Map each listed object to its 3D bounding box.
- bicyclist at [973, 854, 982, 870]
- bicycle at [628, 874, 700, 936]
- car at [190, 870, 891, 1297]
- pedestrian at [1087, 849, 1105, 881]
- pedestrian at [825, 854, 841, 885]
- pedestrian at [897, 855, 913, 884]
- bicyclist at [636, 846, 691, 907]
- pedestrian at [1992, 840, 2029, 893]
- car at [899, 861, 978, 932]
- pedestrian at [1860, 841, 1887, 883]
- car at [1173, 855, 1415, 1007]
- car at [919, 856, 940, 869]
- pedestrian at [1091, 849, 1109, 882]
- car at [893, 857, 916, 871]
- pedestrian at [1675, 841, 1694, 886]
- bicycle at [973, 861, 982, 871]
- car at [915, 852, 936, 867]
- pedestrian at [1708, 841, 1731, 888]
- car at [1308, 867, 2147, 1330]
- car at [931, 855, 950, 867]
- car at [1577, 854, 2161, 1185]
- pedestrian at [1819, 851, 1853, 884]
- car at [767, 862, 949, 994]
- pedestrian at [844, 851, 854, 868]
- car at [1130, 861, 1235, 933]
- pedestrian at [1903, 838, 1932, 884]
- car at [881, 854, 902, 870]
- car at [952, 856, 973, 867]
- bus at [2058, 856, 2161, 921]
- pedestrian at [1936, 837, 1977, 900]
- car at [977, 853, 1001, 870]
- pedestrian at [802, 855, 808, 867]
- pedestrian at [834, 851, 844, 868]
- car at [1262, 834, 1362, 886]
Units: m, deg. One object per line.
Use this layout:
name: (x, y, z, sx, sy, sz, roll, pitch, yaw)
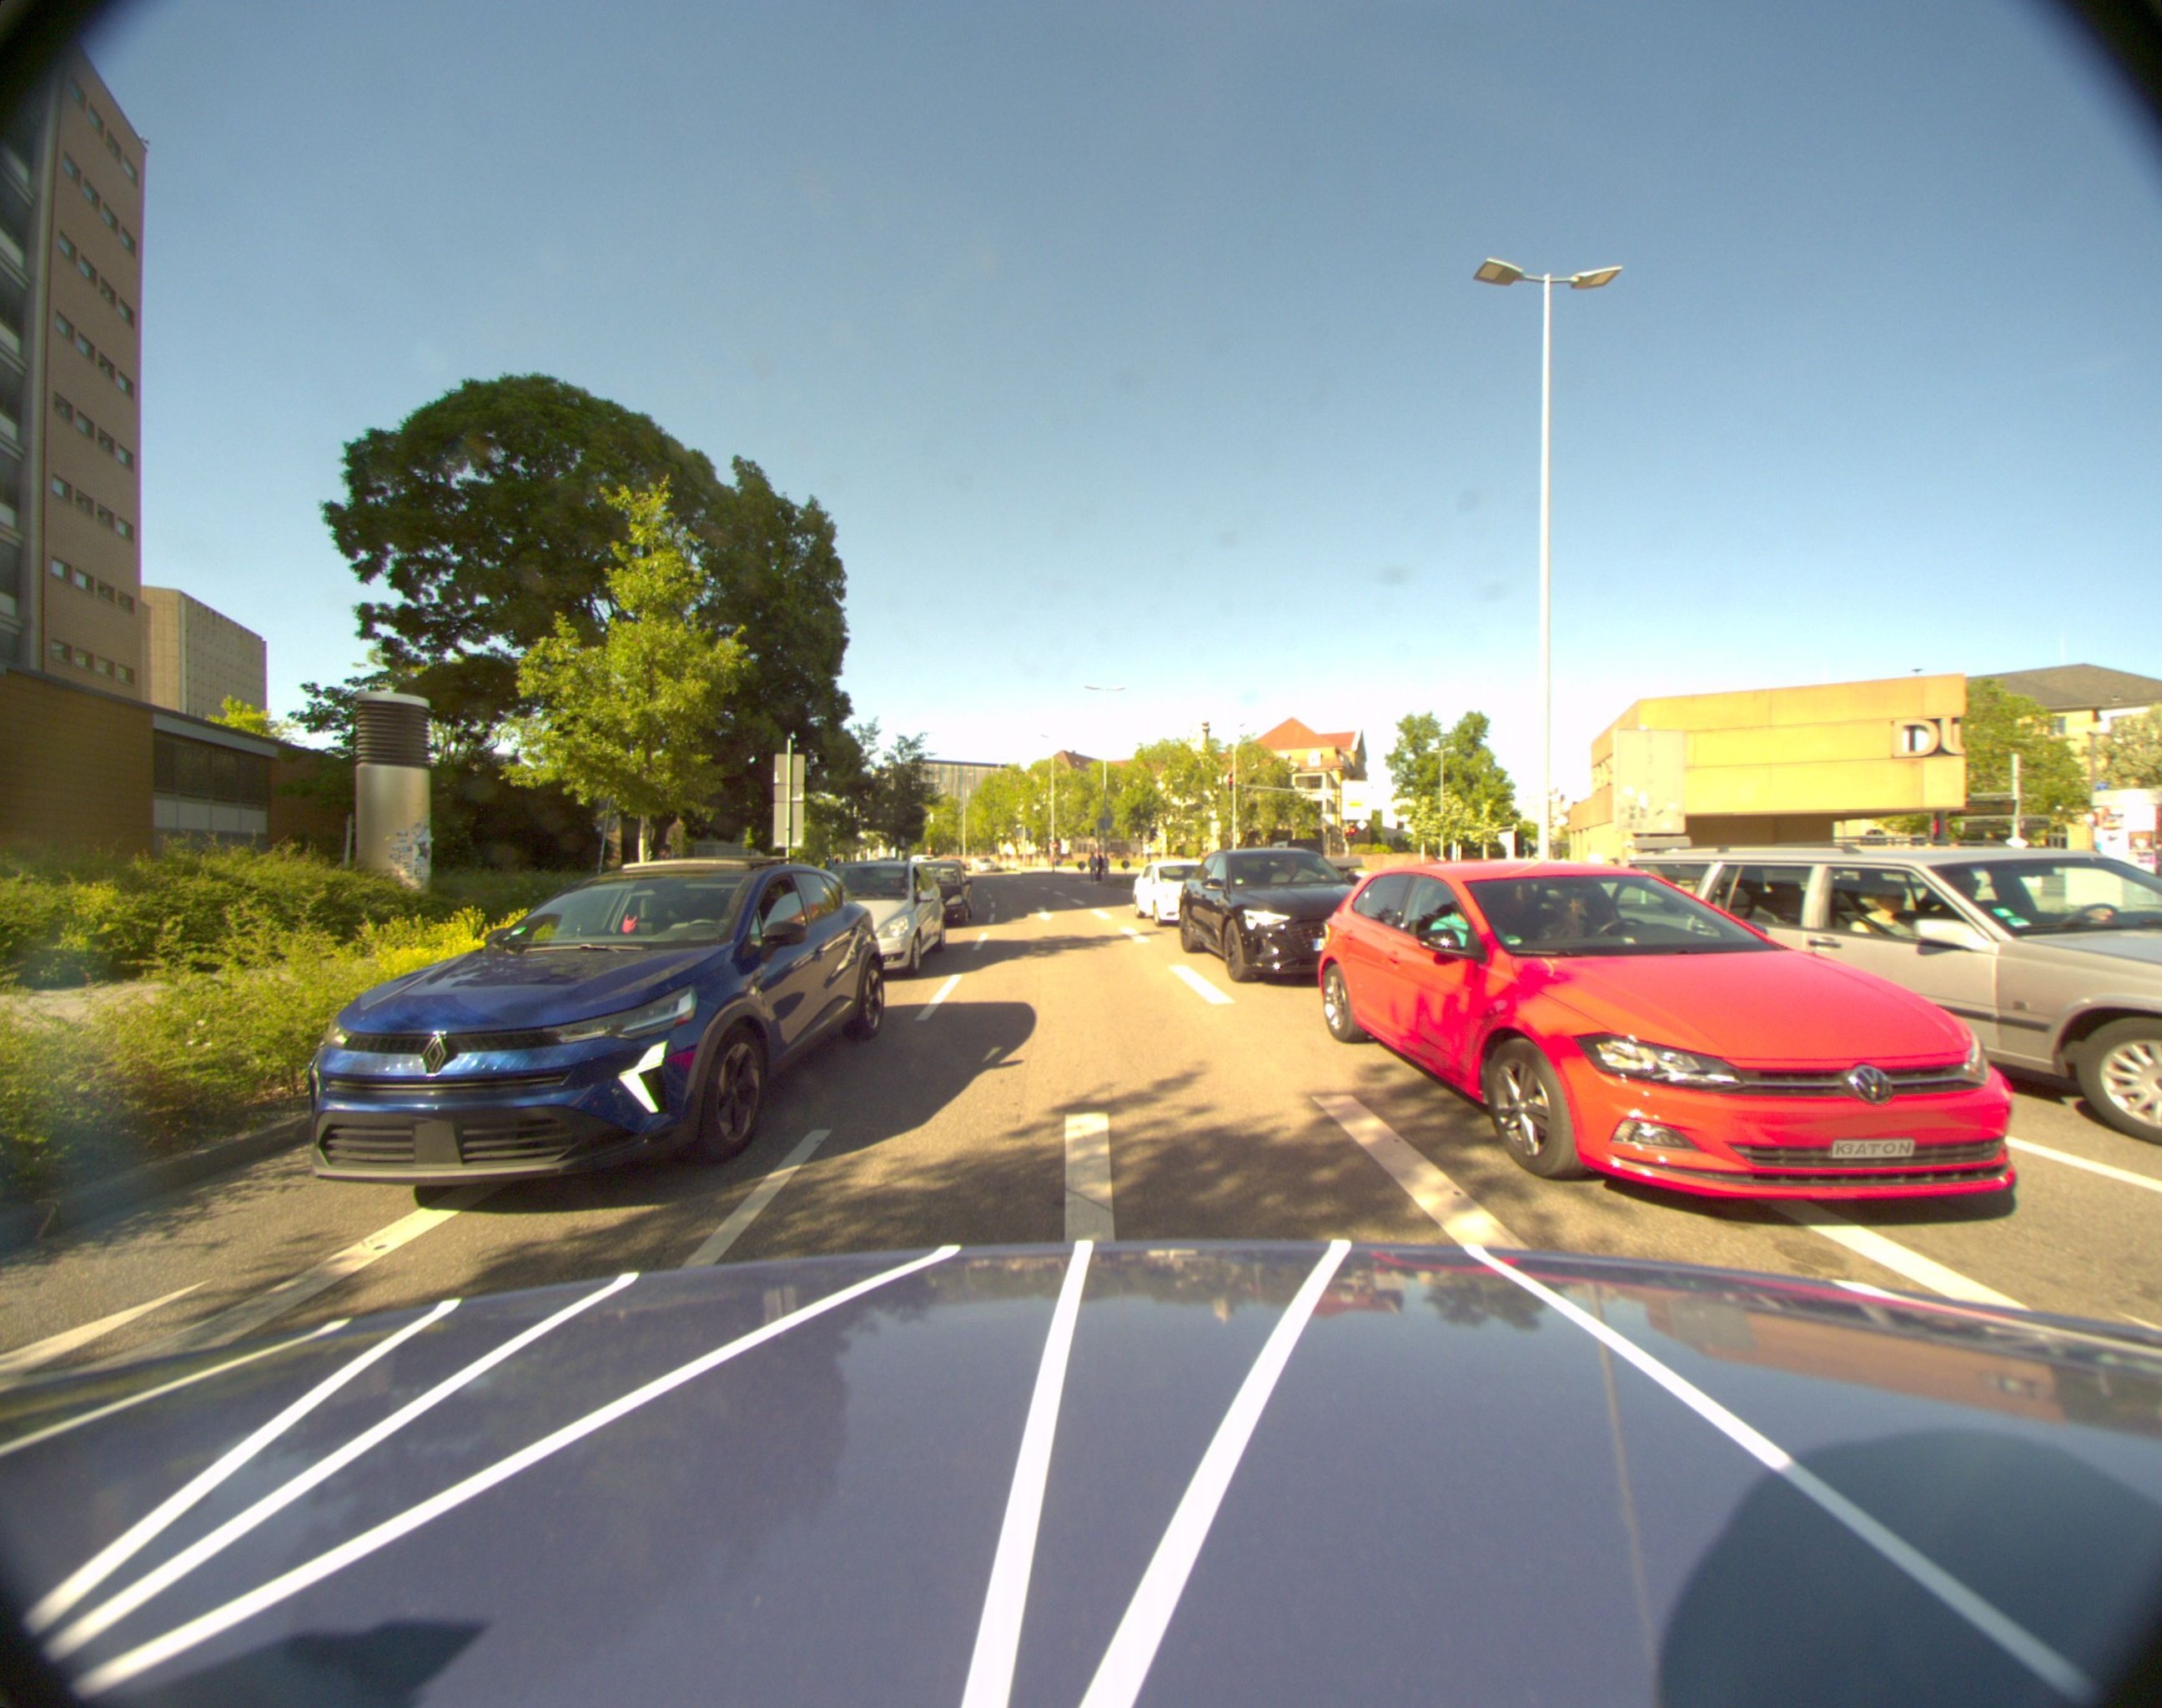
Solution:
bicyclist: (-9.934, 0.769, 73.105, 0.695, 1.549, 0.815, -2, 1, -15)
bicycle: (-9.091, 1.089, 16.652, 0.692, 1.211, 1.834, 2, 0, -5)
car: (-2.656, 0.956, 5.059, 1.705, 1.596, 4.084, -1, 0, 0)
pedestrian: (0.882, 0.620, 44.499, 0.887, 1.814, 0.776, -2, 1, -7)
pedestrian: (-12.885, 0.801, 39.475, 0.693, 1.594, 0.661, 0, 0, -14)
pedestrian: (-9.757, 0.838, 42.080, 0.694, 1.594, 0.660, -1, 0, -28)
bicyclist: (-9.032, 0.480, 16.480, 0.722, 1.271, 0.907, 2, 0, -6)
pedestrian: (31.384, 0.409, 25.660, 0.644, 1.766, 0.469, 0, 1, 21)
car: (-3.523, 0.990, 19.242, 1.651, 1.601, 3.488, 0, 0, -6)
pedestrian: (33.252, 0.331, 31.893, 0.645, 1.766, 0.468, -1, 1, -4)
car: (2.567, 0.827, 10.379, 1.859, 1.606, 4.452, 0, 0, -3)
car: (-16.819, 0.881, 84.277, 1.754, 1.370, 3.568, -1, 0, -21)
pedestrian: (1.086, 0.638, 43.222, 0.757, 1.814, 0.775, -2, 1, -17)
car: (-18.901, 1.042, 81.118, 1.754, 1.467, 3.567, -2, 1, -23)
pedestrian: (24.052, 0.387, 30.276, 0.467, 1.766, 0.647, 0, 1, 29)
bicycle: (-9.959, 1.150, 73.198, 0.590, 0.884, 1.652, -2, 0, -15)
car: (-21.644, 0.787, 105.487, 1.790, 2.002, 4.223, -2, 1, -26)
pedestrian: (24.560, 0.407, 29.208, 0.644, 1.766, 0.618, 0, 1, 42)
car: (2.801, 0.870, 4.528, 1.674, 1.464, 3.853, -2, 0, -1)
car: (-18.211, 0.902, 98.549, 1.598, 1.596, 3.066, -1, 0, -26)
car: (5.755, 0.775, 4.979, 1.713, 1.464, 4.751, -3, -1, -2)
pedestrian: (30.171, 0.523, 30.389, 0.645, 1.303, 0.763, -1, 0, 10)
car: (-3.158, 0.955, 11.615, 1.786, 1.615, 4.042, 0, 0, -3)
pedestrian: (-26.552, 0.617, 86.926, 0.823, 1.906, 0.770, -3, 1, -29)
car: (2.257, 0.922, 17.833, 1.575, 1.410, 3.711, -2, 0, -6)
pedestrian: (32.824, 0.269, 29.802, 0.645, 1.766, 0.468, -1, 1, -4)
car: (-21.654, 0.897, 86.785, 1.830, 1.842, 3.745, 0, 0, -21)
car: (-14.269, 0.930, 91.369, 1.587, 1.198, 3.991, -2, 2, -23)
bus: (21.674, 0.661, 14.069, 1.646, 1.234, 4.181, -1, 0, -5)
pedestrian: (25.700, 0.419, 22.301, 0.647, 1.778, 0.666, -3, 1, -32)
car: (-9.634, 0.774, 79.423, 1.527, 1.669, 3.374, -2, 0, -24)
pedestrian: (-46.381, 1.191, 127.593, 0.823, 1.906, 0.770, -2, 1, -26)
pedestrian: (-27.634, 0.657, 86.746, 0.823, 1.906, 0.770, -3, 1, -29)
car: (11.079, 0.271, 37.093, 2.117, 2.300, 6.209, -1, 0, -10)
